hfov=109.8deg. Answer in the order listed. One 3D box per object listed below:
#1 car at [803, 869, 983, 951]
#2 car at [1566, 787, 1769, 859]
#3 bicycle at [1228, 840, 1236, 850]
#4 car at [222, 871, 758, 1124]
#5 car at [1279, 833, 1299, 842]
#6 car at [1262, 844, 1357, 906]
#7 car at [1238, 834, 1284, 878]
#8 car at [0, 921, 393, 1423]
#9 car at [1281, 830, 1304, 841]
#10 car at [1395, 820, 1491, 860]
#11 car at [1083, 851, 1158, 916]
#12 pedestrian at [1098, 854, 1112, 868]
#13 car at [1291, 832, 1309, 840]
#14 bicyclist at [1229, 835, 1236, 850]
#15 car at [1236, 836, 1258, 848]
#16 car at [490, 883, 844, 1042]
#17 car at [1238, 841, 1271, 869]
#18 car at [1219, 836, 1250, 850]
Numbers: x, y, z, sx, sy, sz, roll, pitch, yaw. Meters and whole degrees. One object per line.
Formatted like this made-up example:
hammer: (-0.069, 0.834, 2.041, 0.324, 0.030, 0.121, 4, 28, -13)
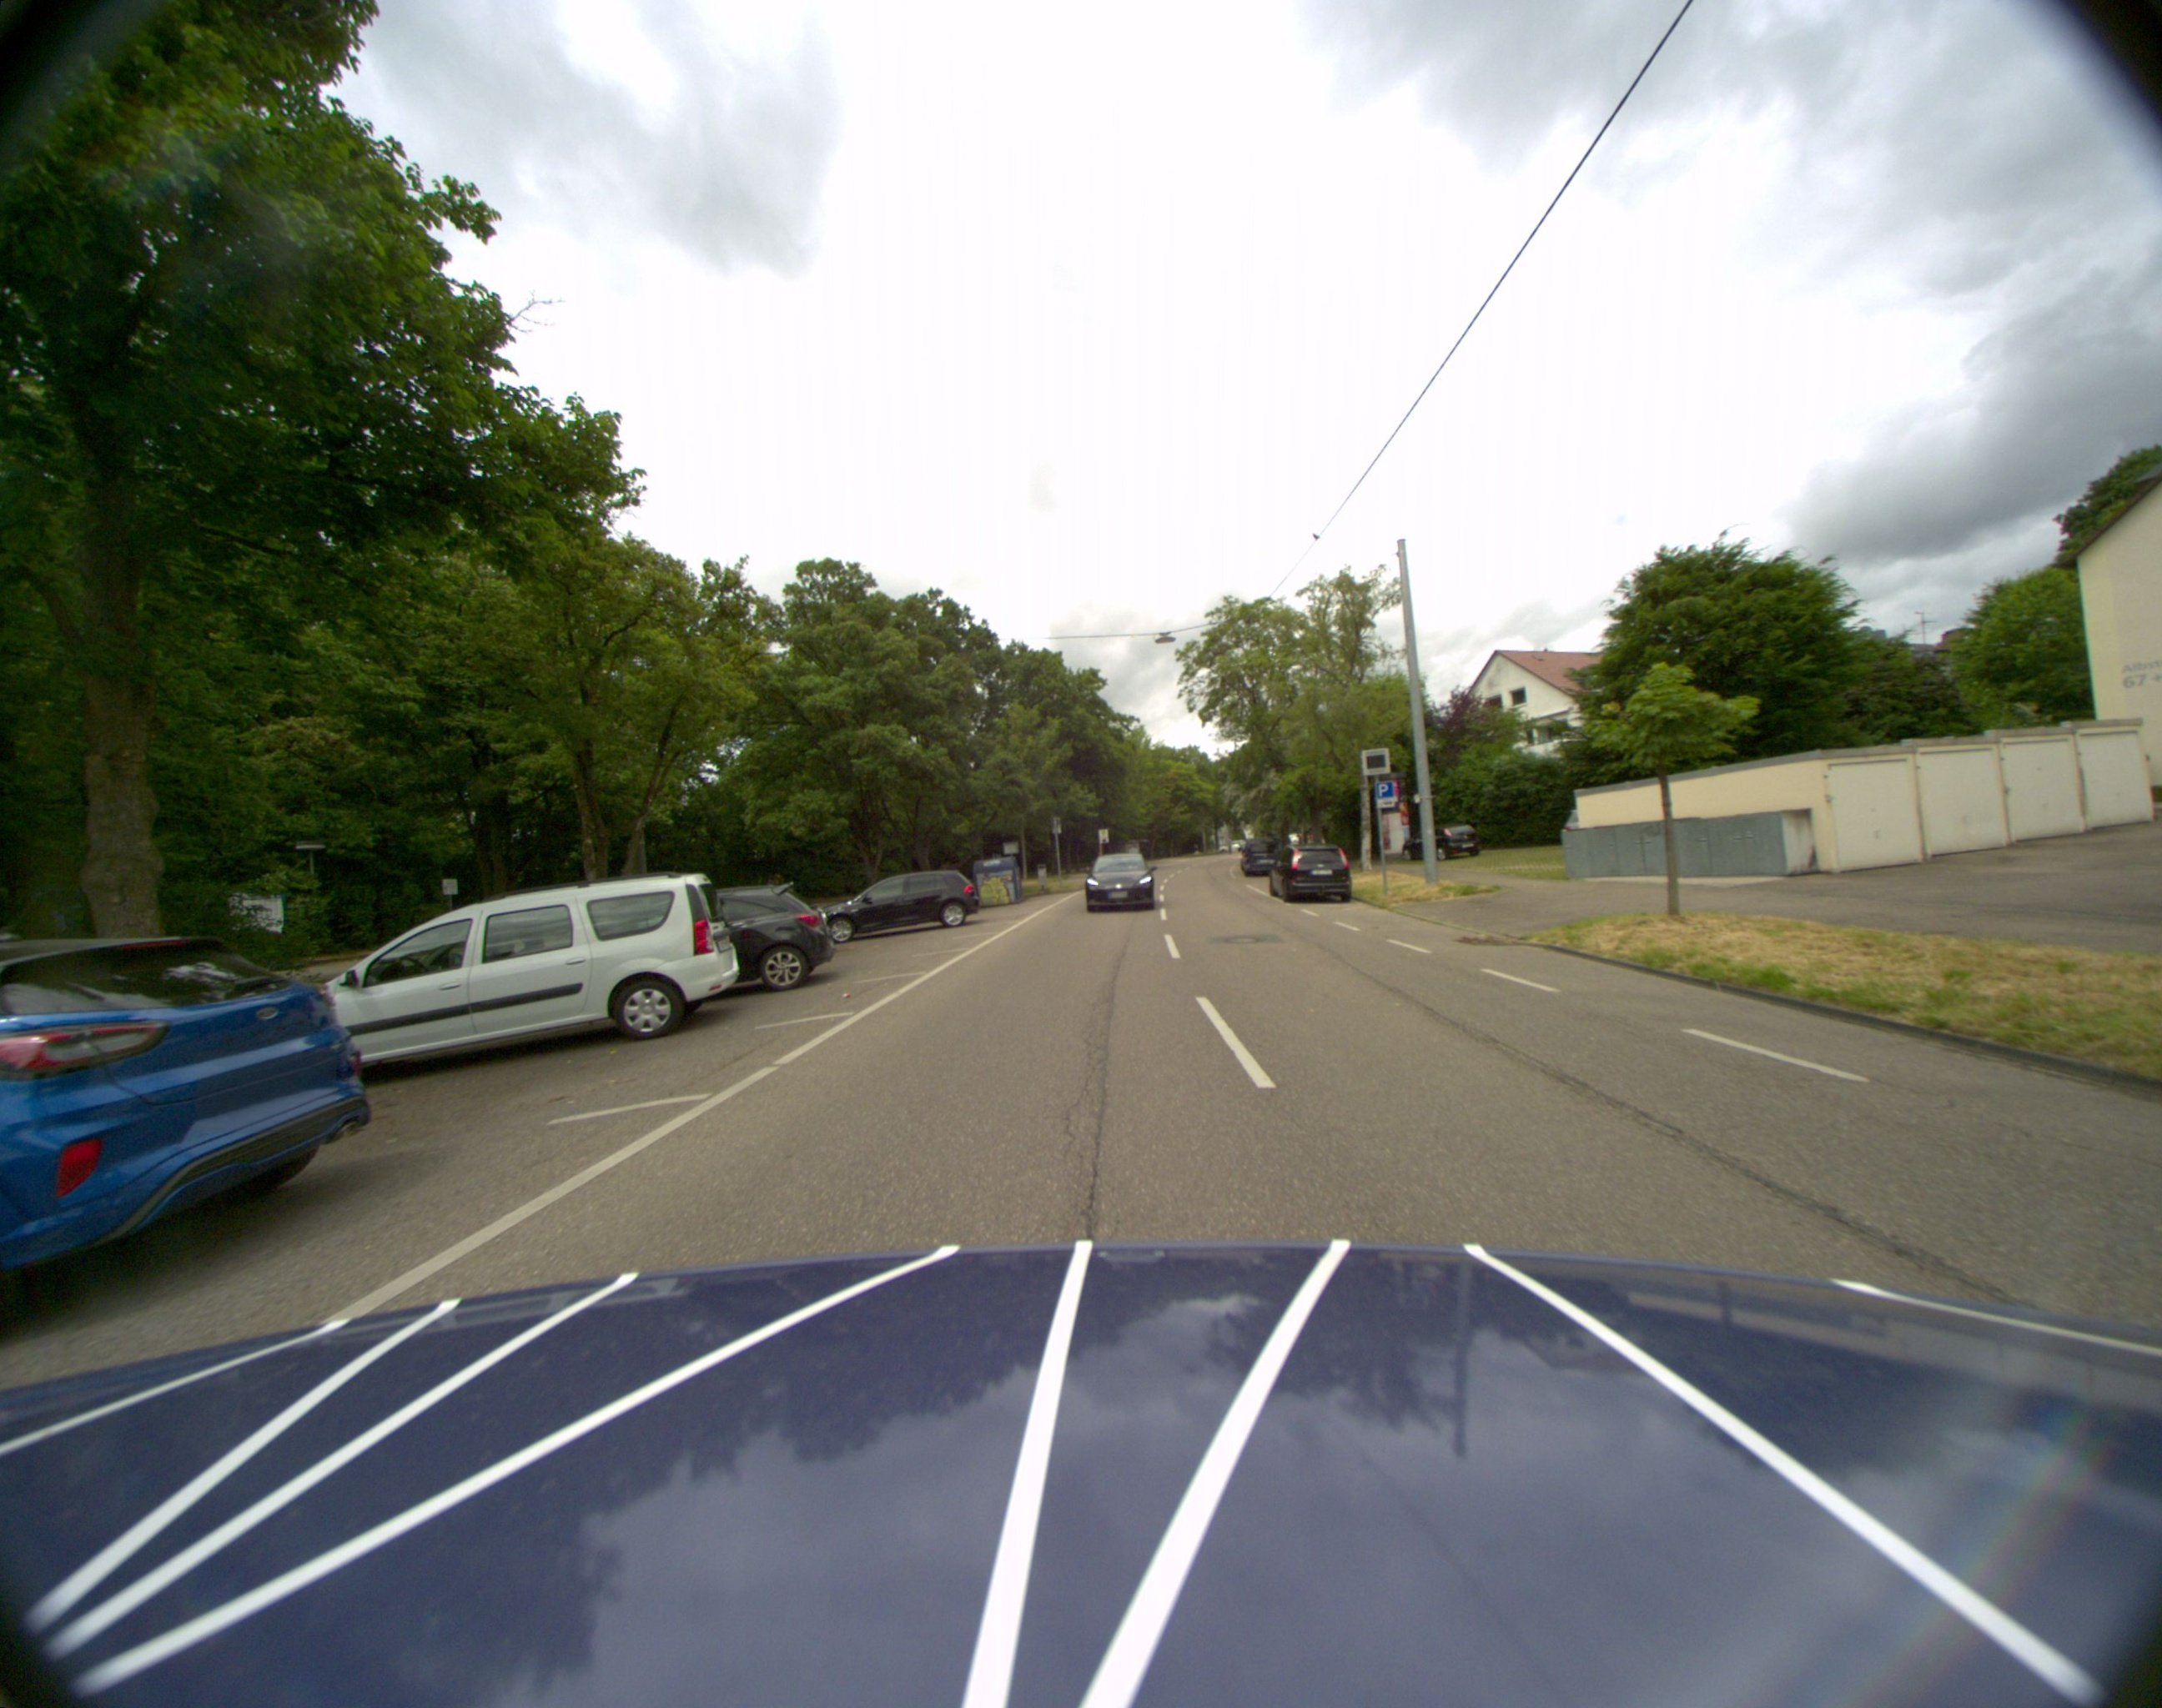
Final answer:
car: (-4.672, 1.330, 18.986, 4.001, 1.406, 2.055, -7, 0, -16)
car: (17.841, -0.873, 23.402, 2.001, 1.640, 4.397, -8, 0, -23)
bicycle: (18.909, -1.157, 95.253, 0.647, 1.230, 1.879, -5, 0, 17)
car: (-5.690, 1.274, 7.956, 3.832, 1.710, 1.876, -7, 1, -15)
car: (44.277, -3.527, 161.709, 3.851, 1.430, 1.717, -6, 0, 14)
car: (6.393, 0.523, 21.708, 1.808, 1.554, 4.268, -1, 1, 6)
car: (8.936, 0.040, 38.057, 1.861, 1.898, 5.086, -4, 1, 10)
car: (-5.547, 1.342, 2.882, 3.832, 1.520, 1.744, -7, 1, -15)
car: (45.772, -3.969, 164.495, 4.218, 1.748, 1.859, -6, 0, 4)
car: (15.862, -0.571, 33.536, 1.779, 1.469, 3.987, -8, 1, -8)
car: (1.121, 0.744, 21.192, 1.812, 1.484, 3.793, -5, 1, 4)
pedestrian: (2.138, 0.617, 68.049, 1.065, 1.175, 0.580, -4, 1, 13)
car: (48.834, -3.948, 169.526, 3.851, 1.426, 1.656, -6, 0, 14)
bicyclist: (19.057, -1.440, 95.766, 0.646, 1.769, 0.628, -4, 2, 17)
car: (22.815, -1.721, 104.238, 1.858, 1.366, 4.082, -5, 0, 29)
car: (-5.500, 1.390, 10.613, 3.831, 1.459, 1.745, -7, 0, -11)
car: (10.998, 0.016, 48.201, 1.869, 1.529, 4.230, -4, 1, 12)
car: (23.993, -1.738, 118.613, 4.475, 1.576, 1.908, -6, 0, 15)
